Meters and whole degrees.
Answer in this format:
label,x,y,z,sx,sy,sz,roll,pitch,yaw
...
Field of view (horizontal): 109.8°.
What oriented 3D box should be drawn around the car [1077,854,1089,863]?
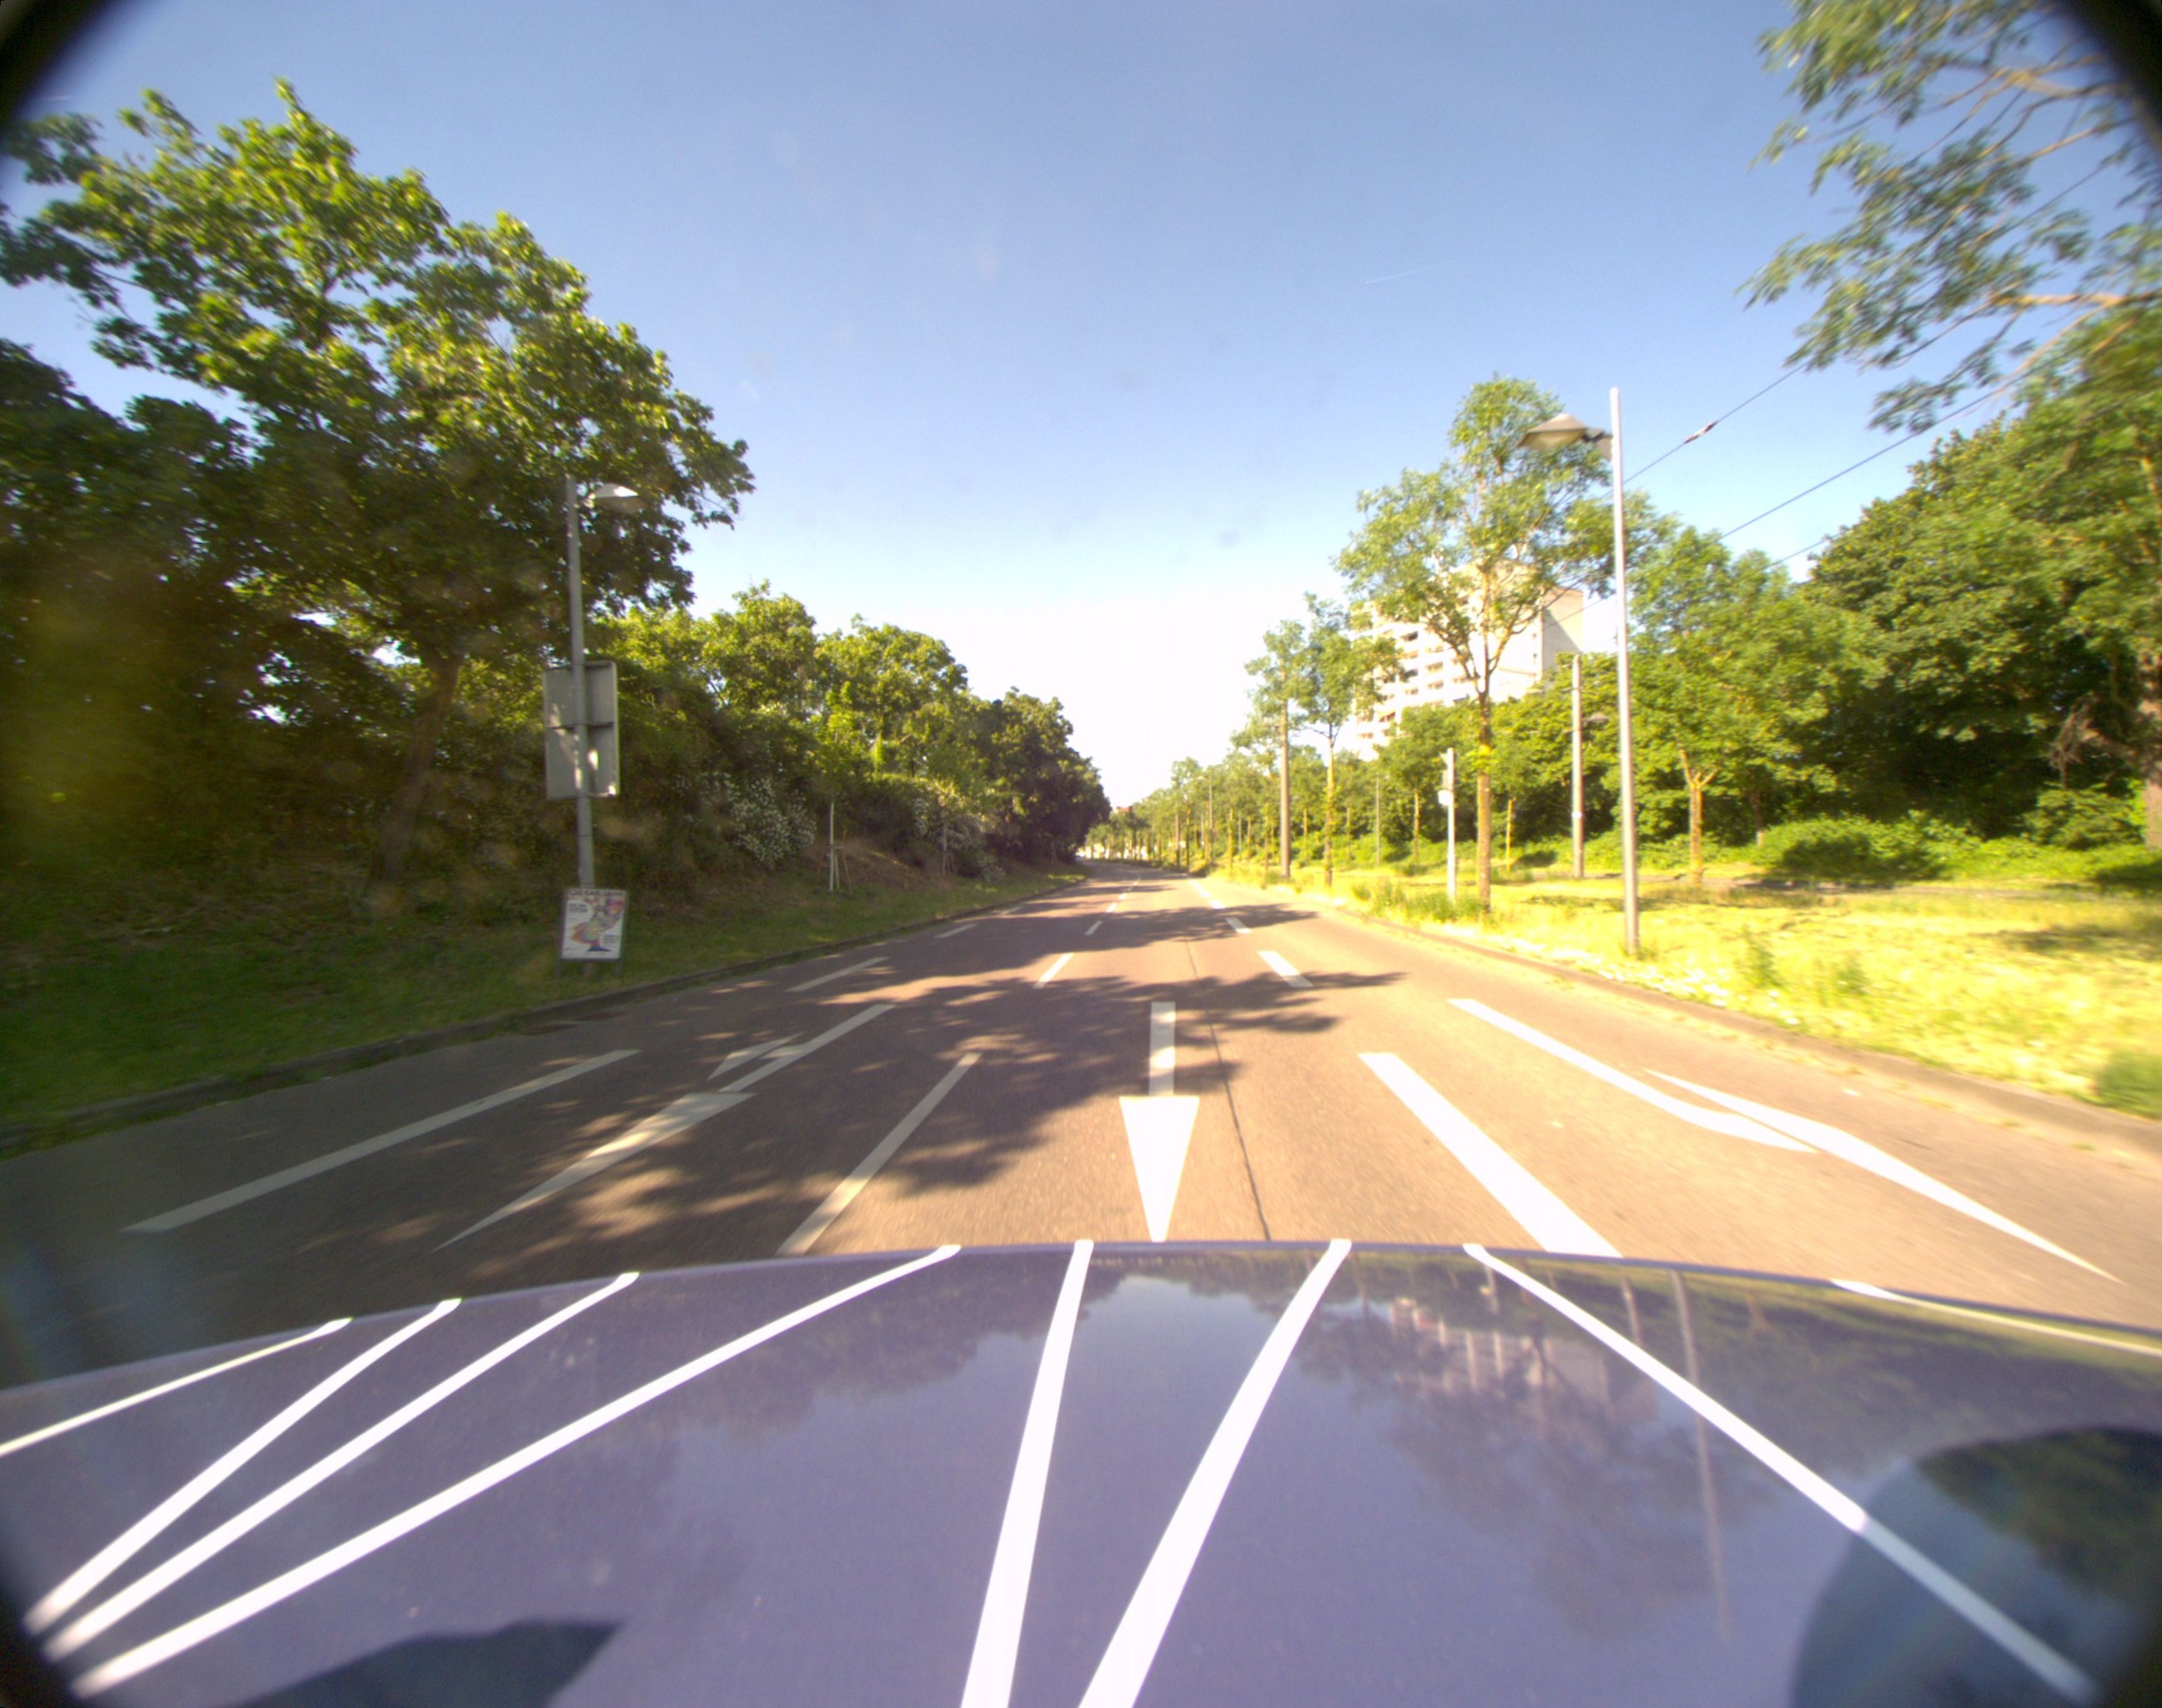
label,x,y,z,sx,sy,sz,roll,pitch,yaw
car,0.397,0.825,143.134,1.672,1.531,4.062,-4,0,6
